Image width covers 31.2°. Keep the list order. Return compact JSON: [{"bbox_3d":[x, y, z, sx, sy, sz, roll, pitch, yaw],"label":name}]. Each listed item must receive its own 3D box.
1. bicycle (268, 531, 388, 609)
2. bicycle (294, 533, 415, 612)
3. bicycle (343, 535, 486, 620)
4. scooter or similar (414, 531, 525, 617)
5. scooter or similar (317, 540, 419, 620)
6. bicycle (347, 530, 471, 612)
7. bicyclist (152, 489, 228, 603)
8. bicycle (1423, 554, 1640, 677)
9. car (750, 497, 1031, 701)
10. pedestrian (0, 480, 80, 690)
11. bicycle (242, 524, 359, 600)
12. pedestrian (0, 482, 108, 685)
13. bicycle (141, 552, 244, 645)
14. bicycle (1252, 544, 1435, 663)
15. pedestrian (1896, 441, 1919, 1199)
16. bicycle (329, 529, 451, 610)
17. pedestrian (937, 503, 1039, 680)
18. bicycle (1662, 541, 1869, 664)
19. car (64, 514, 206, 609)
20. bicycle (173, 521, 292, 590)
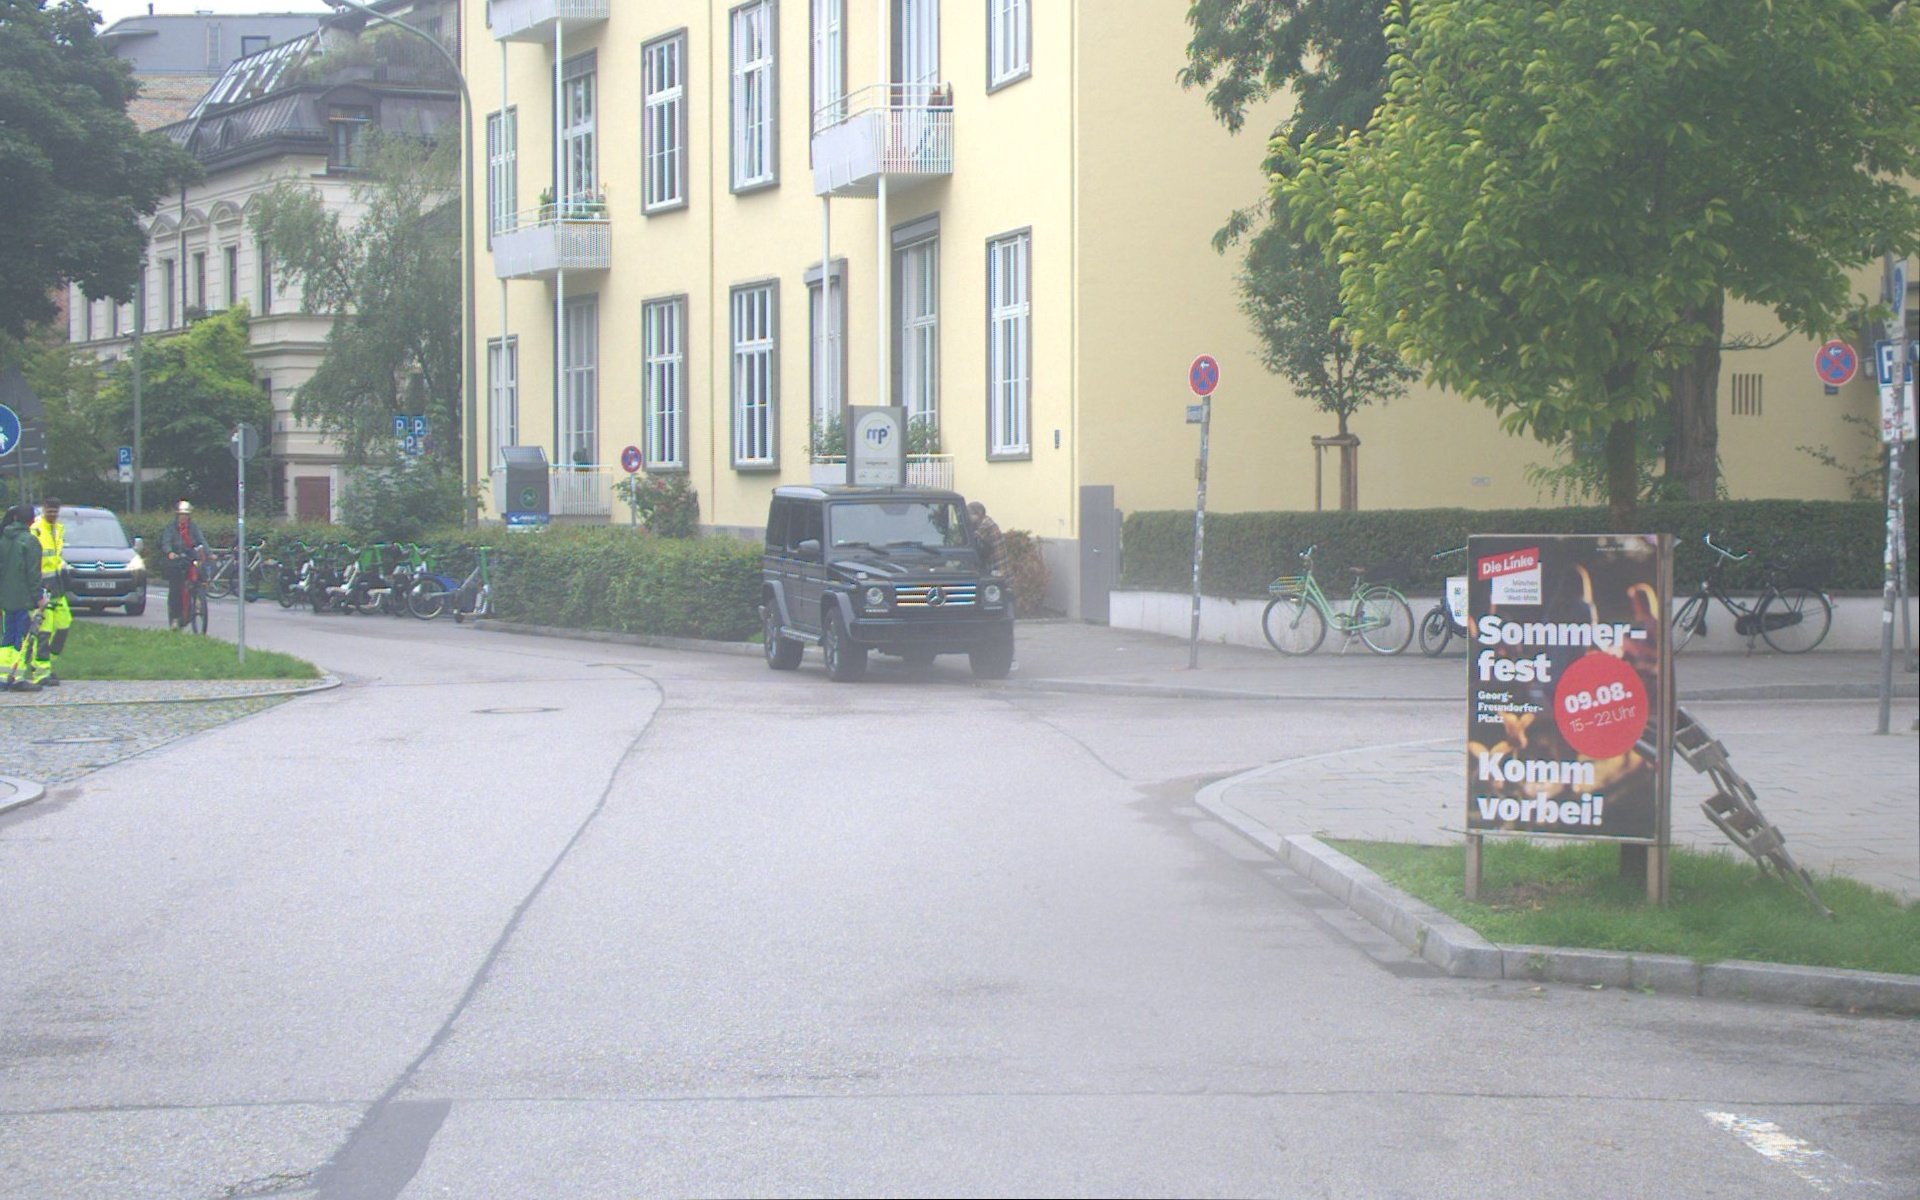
[{"bbox_3d":[-10.759,-0.522,58.553,0.733,1.301,2.152,1,2,33],"label":"bicycle"},{"bbox_3d":[-10.186,-0.477,57.881,0.733,1.301,2.152,1,2,33],"label":"bicycle"},{"bbox_3d":[-8.563,-0.370,54.020,2.150,1.301,0.734,-1,2,-40],"label":"bicycle"},{"bbox_3d":[-7.566,-0.414,53.143,0.733,1.301,2.154,1,1,21],"label":"scooter or similar"},{"bbox_3d":[-9.862,-0.345,57.324,0.733,1.301,1.727,1,1,30],"label":"scooter or similar"},{"bbox_3d":[-8.980,-0.485,56.114,0.733,1.301,2.152,1,2,33],"label":"bicycle"},{"bbox_3d":[-10.390,-0.732,46.381,0.743,1.516,0.945,-1,1,-30],"label":"bicyclist"},{"bbox_3d":[5.764,0.144,34.686,2.069,1.197,0.595,1,1,20],"label":"bicycle"},{"bbox_3d":[-0.801,-0.069,35.671,1.762,1.868,4.380,4,1,-16],"label":"car"},{"bbox_3d":[-9.136,-0.159,33.332,0.931,2.007,0.957,0,1,2],"label":"pedestrian"},{"bbox_3d":[-11.545,-0.676,60.270,0.733,1.301,2.152,1,2,33],"label":"bicycle"},{"bbox_3d":[-9.140,-0.171,34.484,0.931,2.007,0.957,0,1,2],"label":"pedestrian"},{"bbox_3d":[-10.372,-0.034,46.390,0.743,1.210,2.144,-1,1,-30],"label":"bicycle"},{"bbox_3d":[4.009,0.024,36.079,1.927,1.197,0.594,2,2,43],"label":"bicycle"},{"bbox_3d":[2.678,0.570,7.295,0.954,1.794,0.935,1,0,-40],"label":"pedestrian"},{"bbox_3d":[-9.427,-0.516,56.953,0.733,1.301,2.152,1,2,33],"label":"bicycle"},{"bbox_3d":[0.286,-0.093,35.756,0.874,1.817,0.799,0,1,-14],"label":"pedestrian"},{"bbox_3d":[8.052,0.021,34.394,1.922,1.197,0.595,0,1,2],"label":"bicycle"},{"bbox_3d":[-13.513,-0.654,56.173,1.914,1.466,4.001,0,2,-19],"label":"car"},{"bbox_3d":[-13.979,-0.858,66.076,2.148,1.301,0.735,0,1,-20],"label":"bicycle"}]
